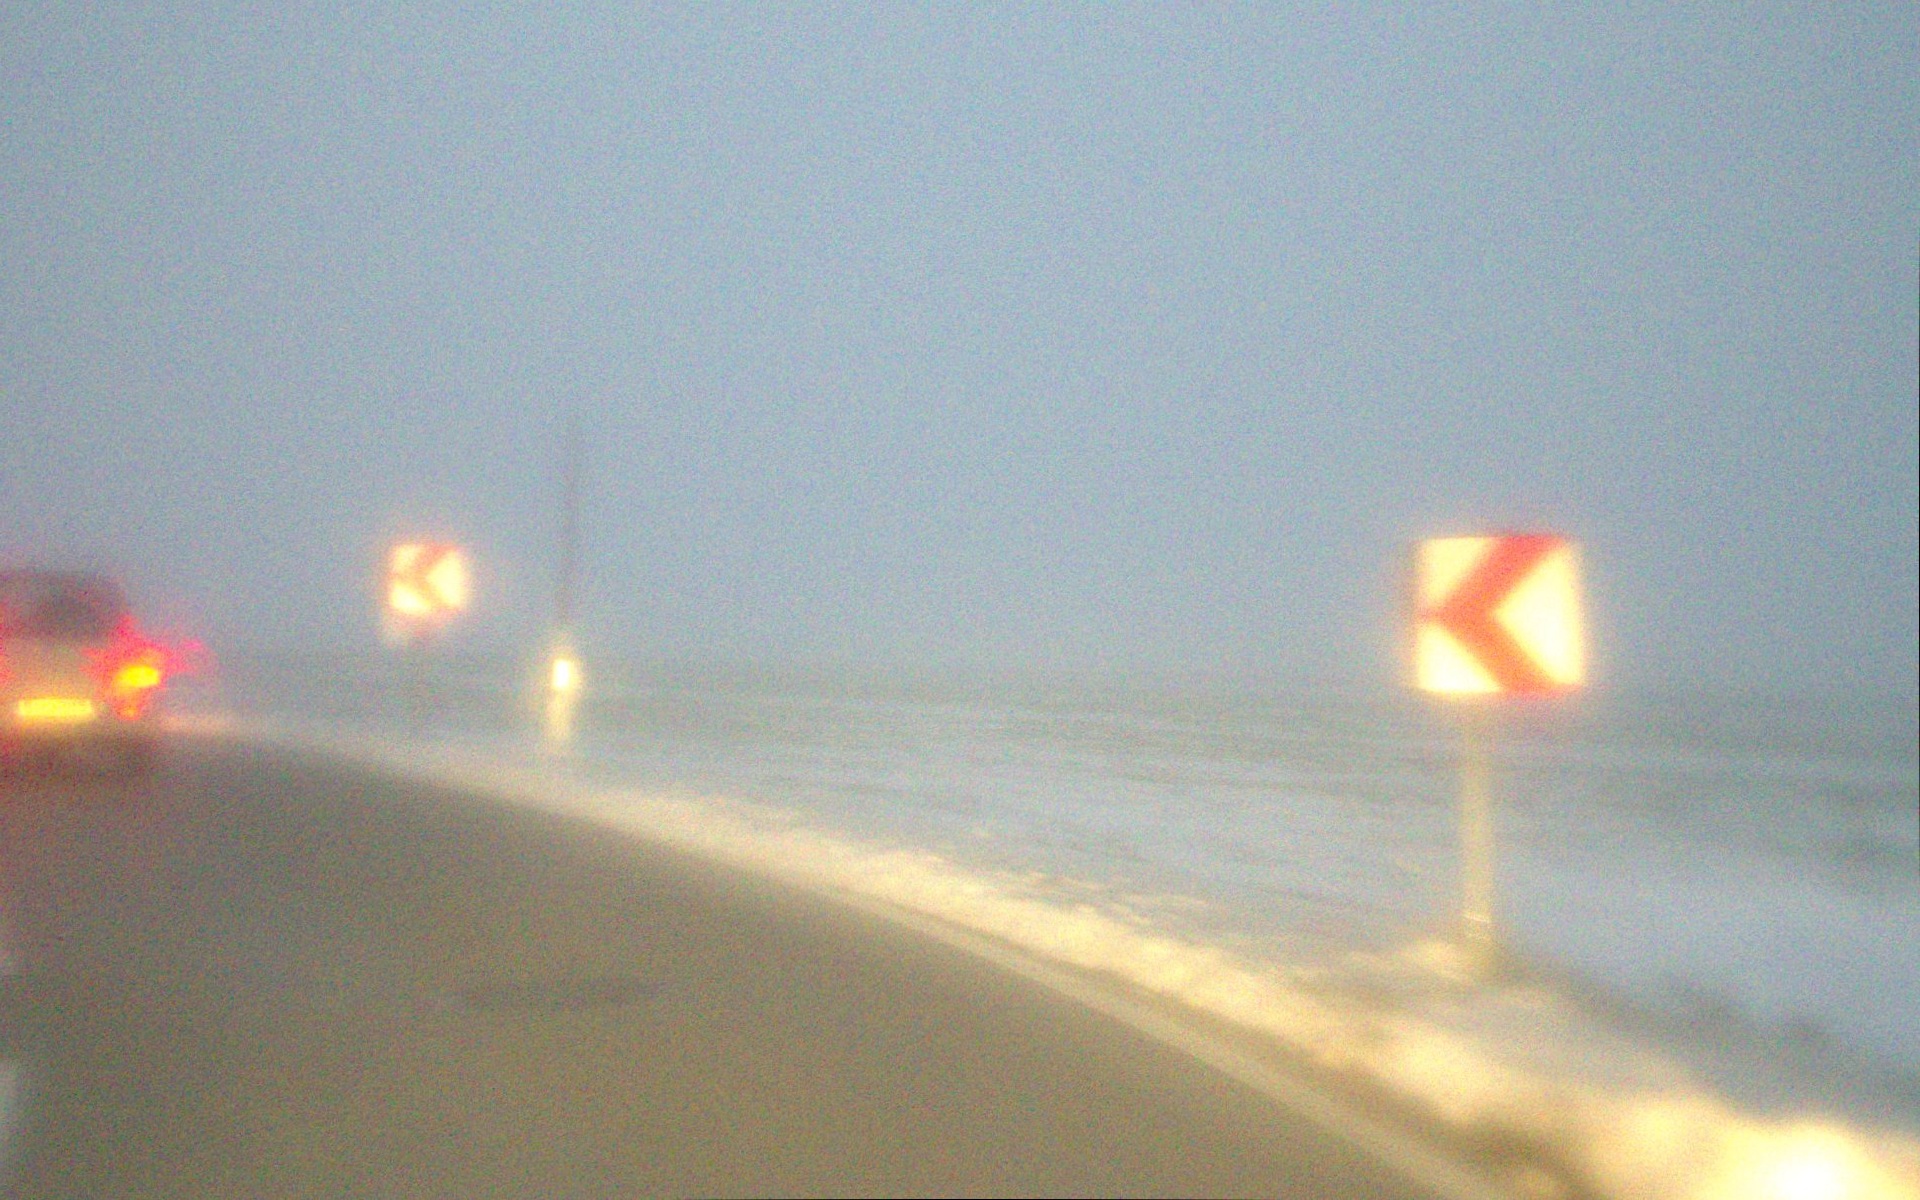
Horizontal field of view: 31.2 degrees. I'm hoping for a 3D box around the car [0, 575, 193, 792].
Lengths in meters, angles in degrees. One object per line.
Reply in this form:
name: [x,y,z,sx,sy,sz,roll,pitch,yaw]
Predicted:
car: [-6.483,0.532,23.966,1.945,1.376,4.001,0,0,-17]
